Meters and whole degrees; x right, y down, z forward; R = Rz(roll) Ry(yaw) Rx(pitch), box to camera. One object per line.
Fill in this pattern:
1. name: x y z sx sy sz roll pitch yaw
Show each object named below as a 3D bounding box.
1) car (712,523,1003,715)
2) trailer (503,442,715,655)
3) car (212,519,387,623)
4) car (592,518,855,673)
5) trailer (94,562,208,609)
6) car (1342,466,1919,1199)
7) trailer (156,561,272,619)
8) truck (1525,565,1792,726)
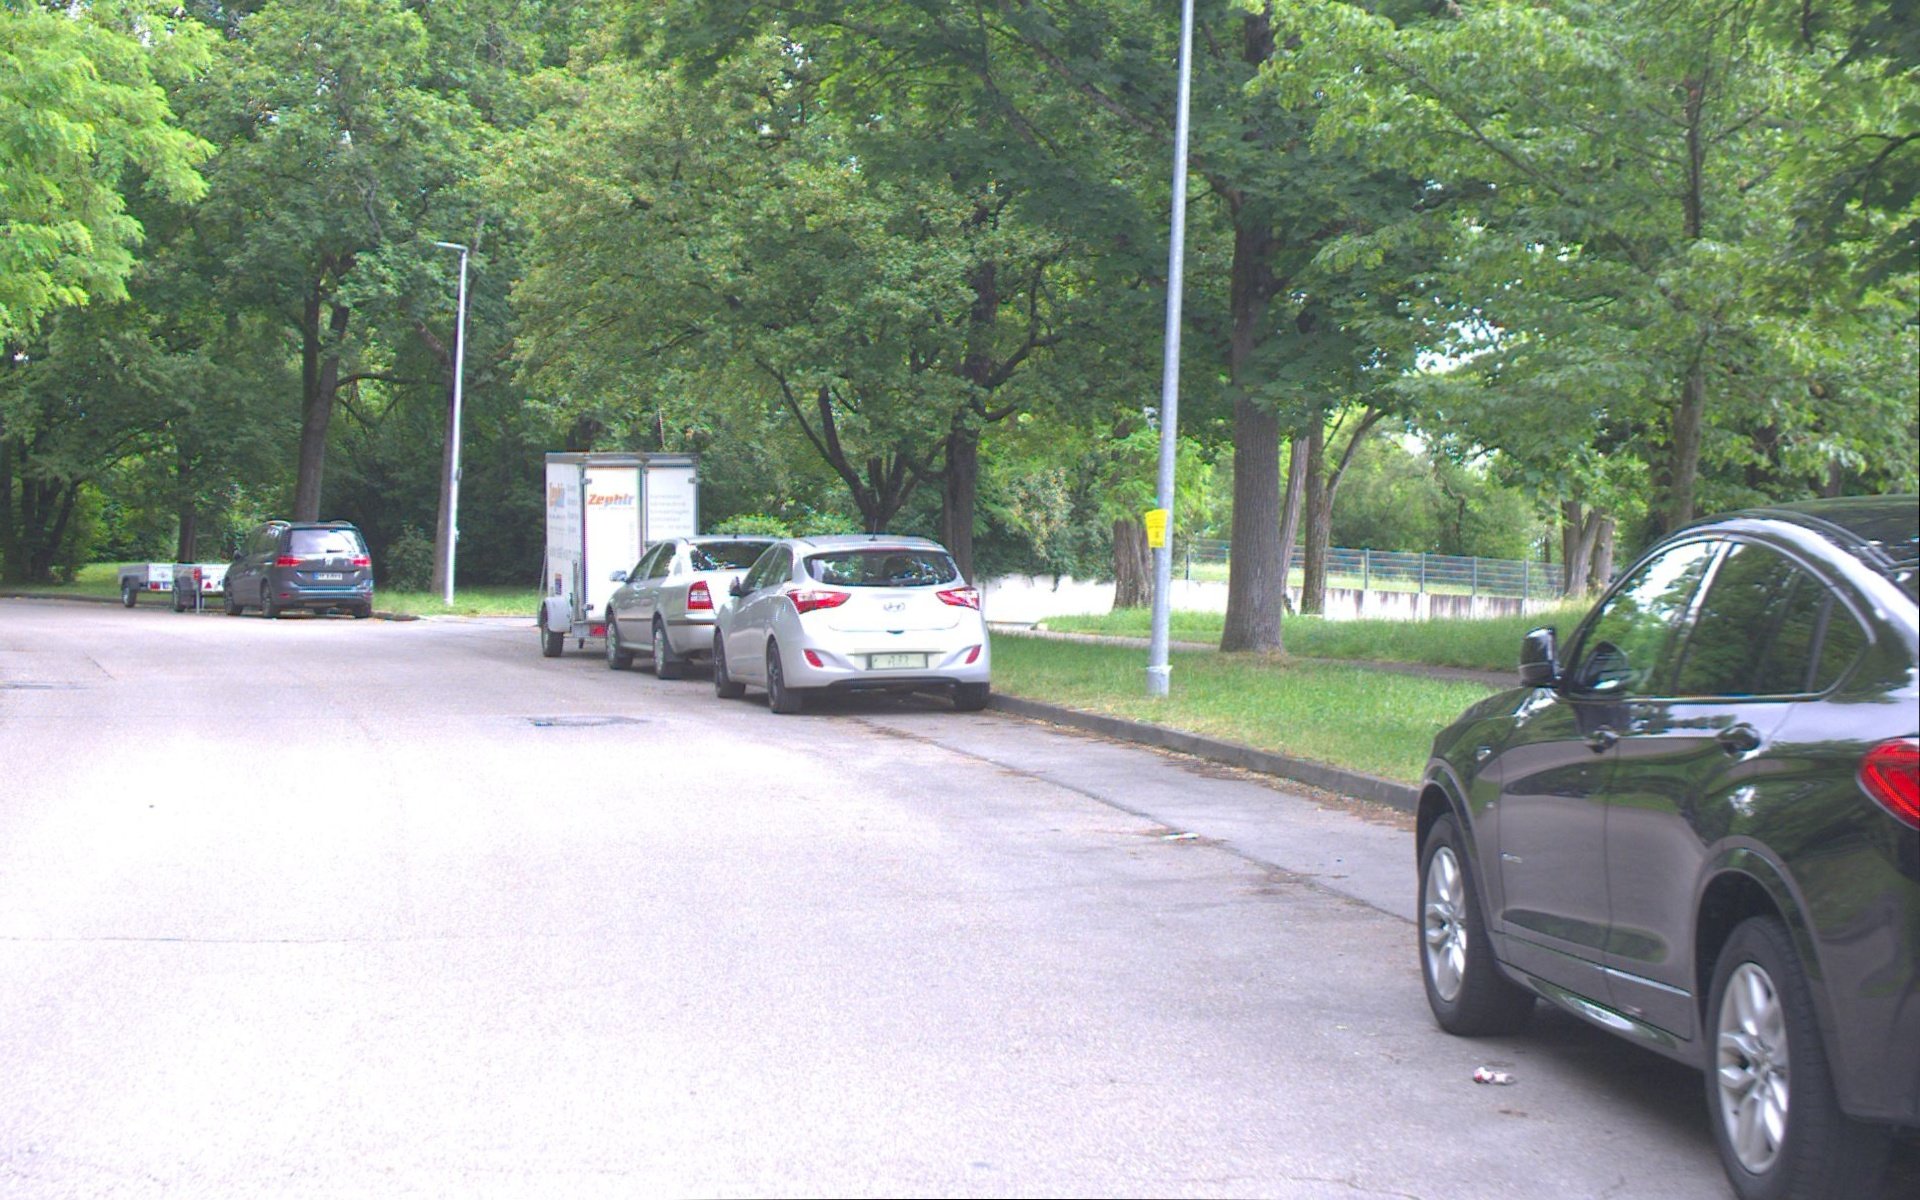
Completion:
1. car: -0.957 0.198 29.451 1.902 1.471 4.059 2 -1 -10
2. trailer: -4.249 -0.622 41.153 1.760 2.418 3.888 0 1 -18
3. car: -11.391 -0.493 59.041 1.775 1.657 4.841 2 -1 -25
4. car: -2.554 -0.069 36.010 1.740 1.520 4.637 0 1 -17
5. trailer: -16.219 -0.276 68.823 1.363 0.845 3.279 3 -2 -29
6. car: 2.462 0.526 9.252 1.848 1.637 4.531 1 1 -7
7. trailer: -14.034 -0.203 64.549 1.357 0.965 3.894 2 0 -23
8. truck: 18.692 1.277 91.455 2.695 3.984 9.549 0 -2 39
